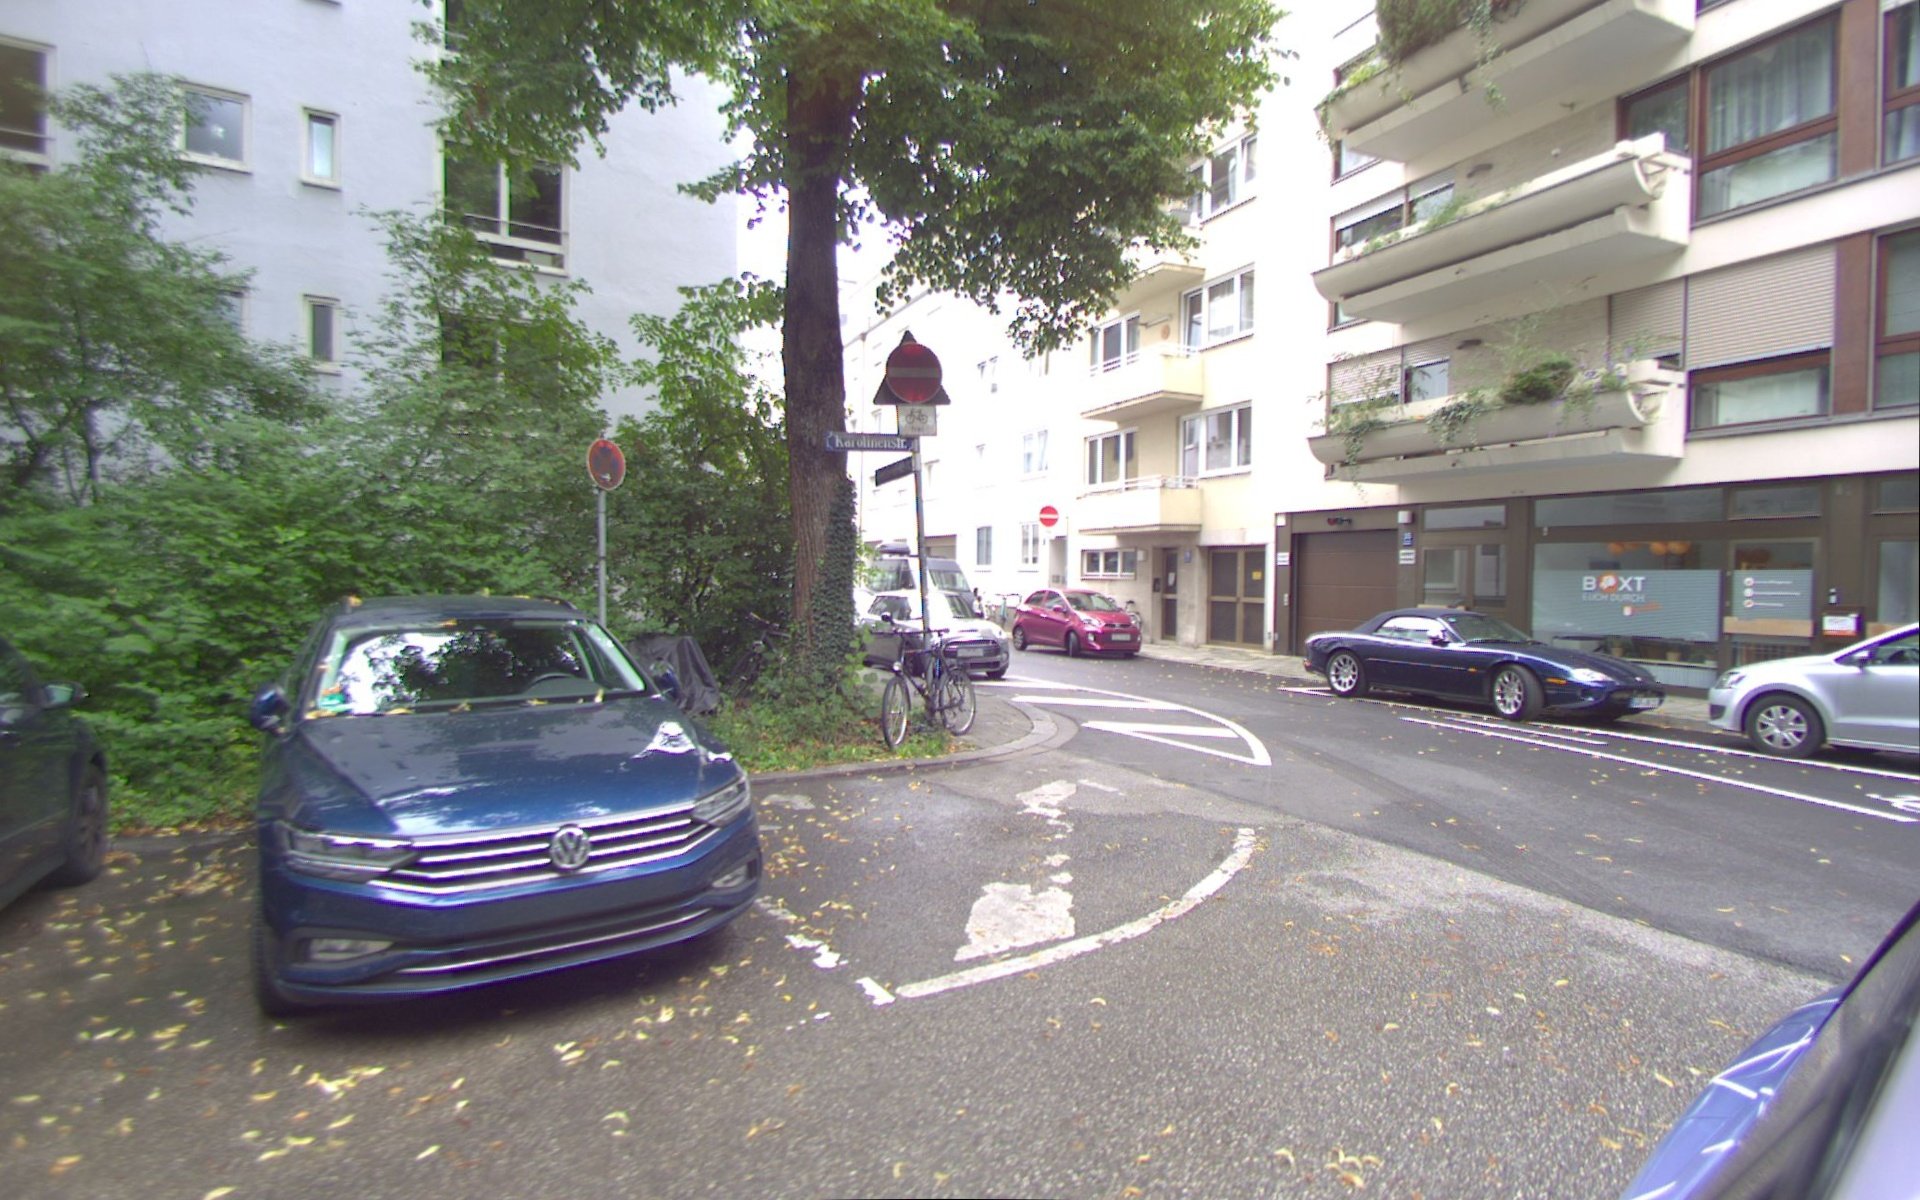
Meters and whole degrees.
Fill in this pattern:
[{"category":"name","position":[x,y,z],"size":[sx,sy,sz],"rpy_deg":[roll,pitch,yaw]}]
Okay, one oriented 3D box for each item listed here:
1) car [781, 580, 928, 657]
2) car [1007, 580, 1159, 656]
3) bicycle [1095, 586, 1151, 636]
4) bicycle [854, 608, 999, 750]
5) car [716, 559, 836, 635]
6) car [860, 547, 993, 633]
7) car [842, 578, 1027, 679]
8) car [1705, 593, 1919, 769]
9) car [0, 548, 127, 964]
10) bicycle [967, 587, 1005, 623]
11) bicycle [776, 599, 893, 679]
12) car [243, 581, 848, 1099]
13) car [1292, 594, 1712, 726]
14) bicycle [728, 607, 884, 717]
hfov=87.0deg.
[{"category":"car","position":[-2.350,0.320,21.595],"size":[1.801,1.437,4.065],"rpy_deg":[0,1,-26]},{"category":"car","position":[2.657,0.340,22.691],"size":[1.591,1.515,3.715],"rpy_deg":[1,1,-26]},{"category":"bicycle","position":[4.036,0.249,25.153],"size":[0.459,1.163,1.763],"rpy_deg":[0,1,-25]},{"category":"bicycle","position":[-0.272,0.687,9.601],"size":[0.550,1.151,1.755],"rpy_deg":[1,2,29]},{"category":"car","position":[-4.914,-0.152,26.473],"size":[1.842,1.813,4.791],"rpy_deg":[0,2,-26]},{"category":"car","position":[-1.141,-0.352,30.558],"size":[1.983,2.307,5.401],"rpy_deg":[2,1,-25]},{"category":"car","position":[-0.573,0.393,17.296],"size":[1.712,1.459,4.008],"rpy_deg":[1,1,-24]},{"category":"car","position":[8.846,0.726,8.525],"size":[1.533,1.439,3.840],"rpy_deg":[2,0,-26]},{"category":"car","position":[-4.542,0.590,3.670],"size":[1.721,1.574,3.989],"rpy_deg":[-1,2,-30]},{"category":"bicycle","position":[0.838,0.138,32.904],"size":[0.455,1.111,1.874],"rpy_deg":[0,2,-24]},{"category":"bicycle","position":[-1.770,0.539,14.289],"size":[1.613,1.069,0.449],"rpy_deg":[0,1,18]},{"category":"car","position":[-2.566,0.631,5.349],"size":[1.923,1.394,4.735],"rpy_deg":[-1,2,-35]},{"category":"car","position":[6.671,0.644,13.110],"size":[1.765,1.294,4.625],"rpy_deg":[2,1,-26]},{"category":"bicycle","position":[-1.653,0.631,10.987],"size":[1.606,1.069,0.605],"rpy_deg":[-1,2,-40]}]
